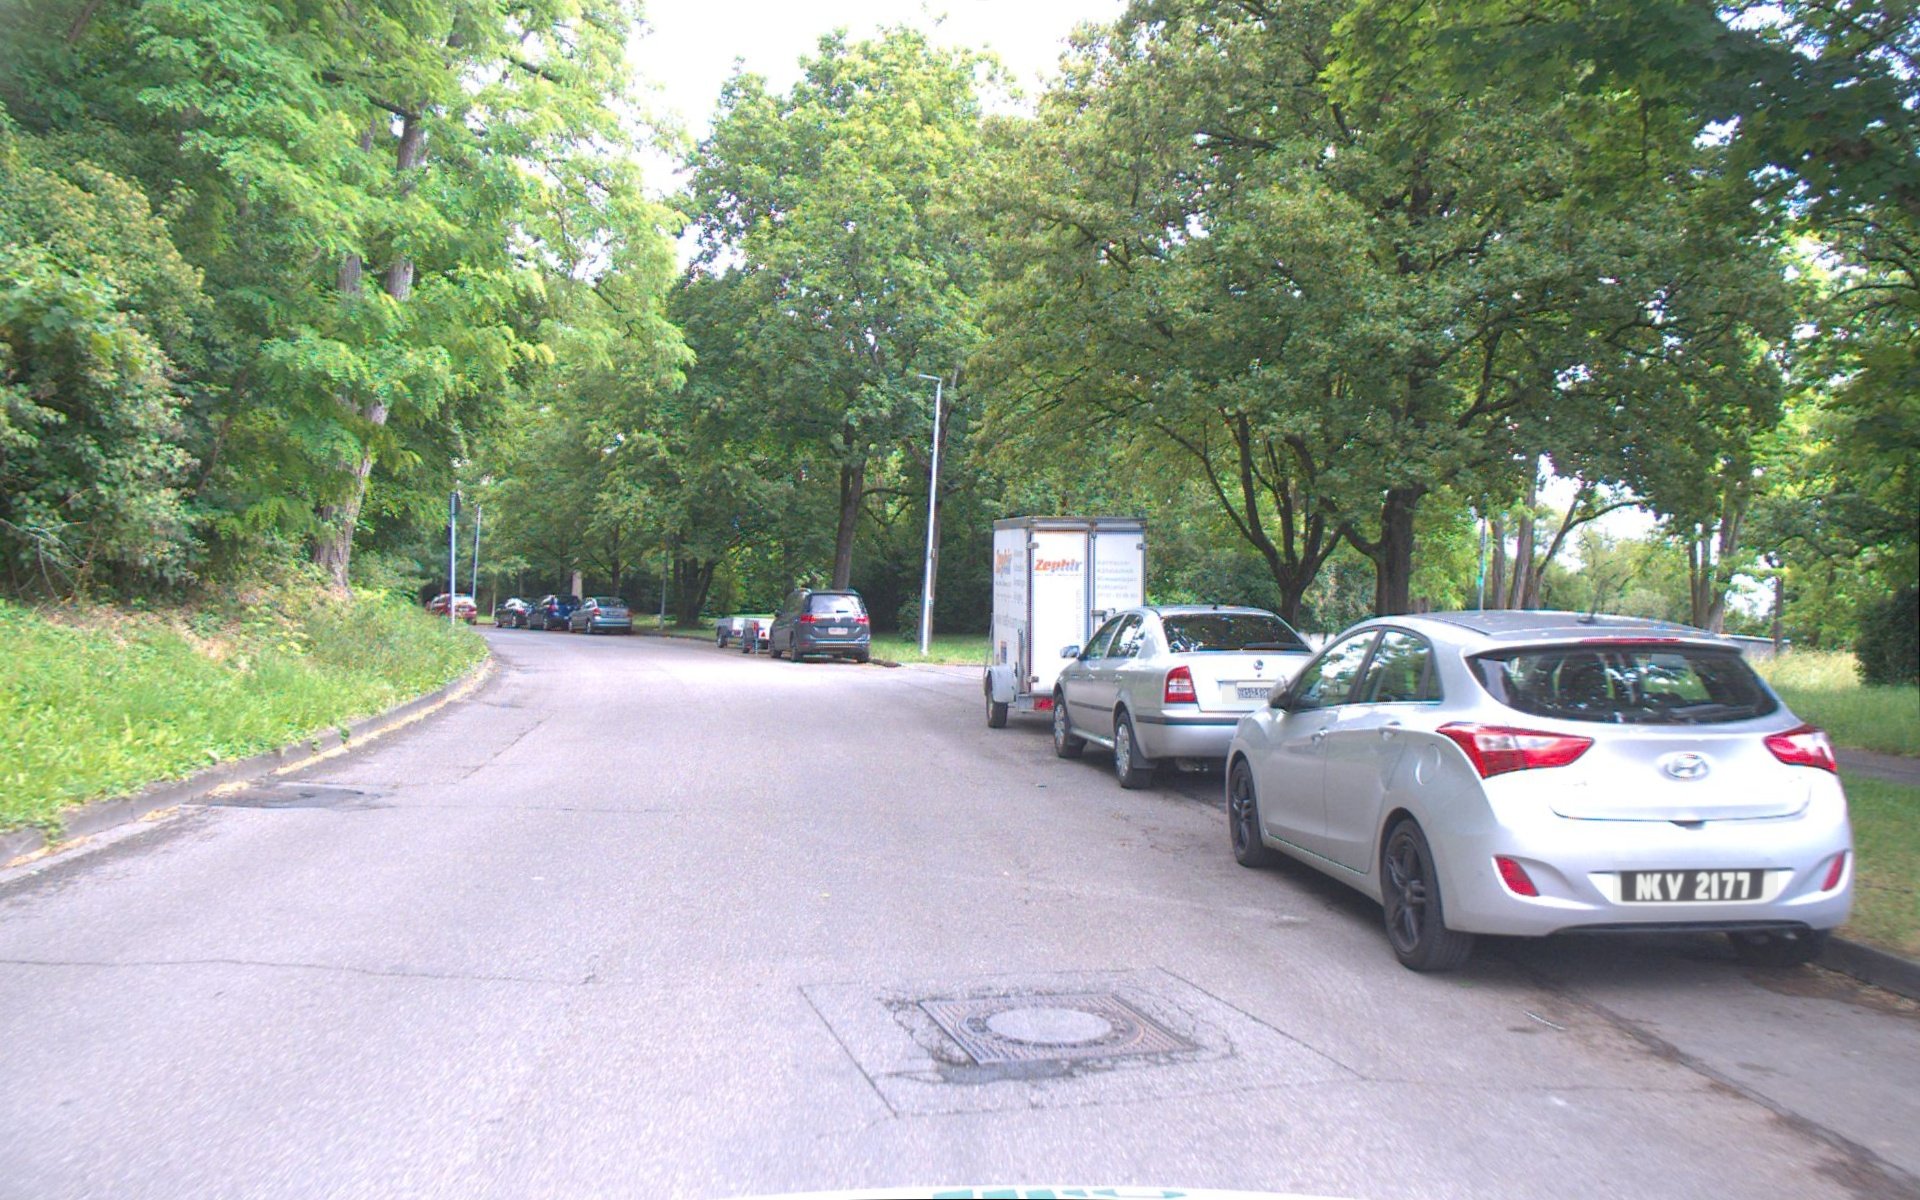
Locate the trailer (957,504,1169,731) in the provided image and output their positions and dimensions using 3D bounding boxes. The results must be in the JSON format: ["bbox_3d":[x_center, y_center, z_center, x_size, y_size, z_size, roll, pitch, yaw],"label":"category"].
[{"bbox_3d":[1.130,0.193,20.016,1.728,2.469,3.878,1,0,-9],"label":"trailer"}]

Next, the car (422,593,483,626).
[{"bbox_3d":[-25.805,0.487,84.013,1.726,1.590,3.946,1,-1,-37],"label":"car"}]

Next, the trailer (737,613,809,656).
[{"bbox_3d":[-5.059,0.909,44.493,1.335,0.986,3.877,3,0,-15],"label":"trailer"}]

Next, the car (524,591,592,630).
[{"bbox_3d":[-17.305,0.464,71.016,1.696,1.536,4.139,4,-2,-30],"label":"car"}]

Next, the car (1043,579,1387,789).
[{"bbox_3d":[2.042,0.641,14.684,1.709,1.552,4.626,1,0,-9],"label":"car"}]

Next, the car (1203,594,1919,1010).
[{"bbox_3d":[2.599,0.740,8.167,1.865,1.502,4.054,1,0,-5],"label":"car"}]

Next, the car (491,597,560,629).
[{"bbox_3d":[-19.759,0.581,75.048,1.734,1.360,4.365,2,-1,-33],"label":"car"}]

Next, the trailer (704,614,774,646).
[{"bbox_3d":[-6.574,0.890,49.020,1.343,0.862,3.258,3,-2,-20],"label":"trailer"}]

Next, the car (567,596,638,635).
[{"bbox_3d":[-14.107,0.619,65.086,1.698,1.457,3.910,1,-1,-29],"label":"car"}]

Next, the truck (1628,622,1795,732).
[{"bbox_3d":[30.450,3.171,66.738,9.492,4.067,2.655,5,-3,-43],"label":"truck"}]

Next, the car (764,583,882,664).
[{"bbox_3d":[-3.271,0.539,38.688,1.747,1.691,4.818,3,-1,-16],"label":"car"}]
